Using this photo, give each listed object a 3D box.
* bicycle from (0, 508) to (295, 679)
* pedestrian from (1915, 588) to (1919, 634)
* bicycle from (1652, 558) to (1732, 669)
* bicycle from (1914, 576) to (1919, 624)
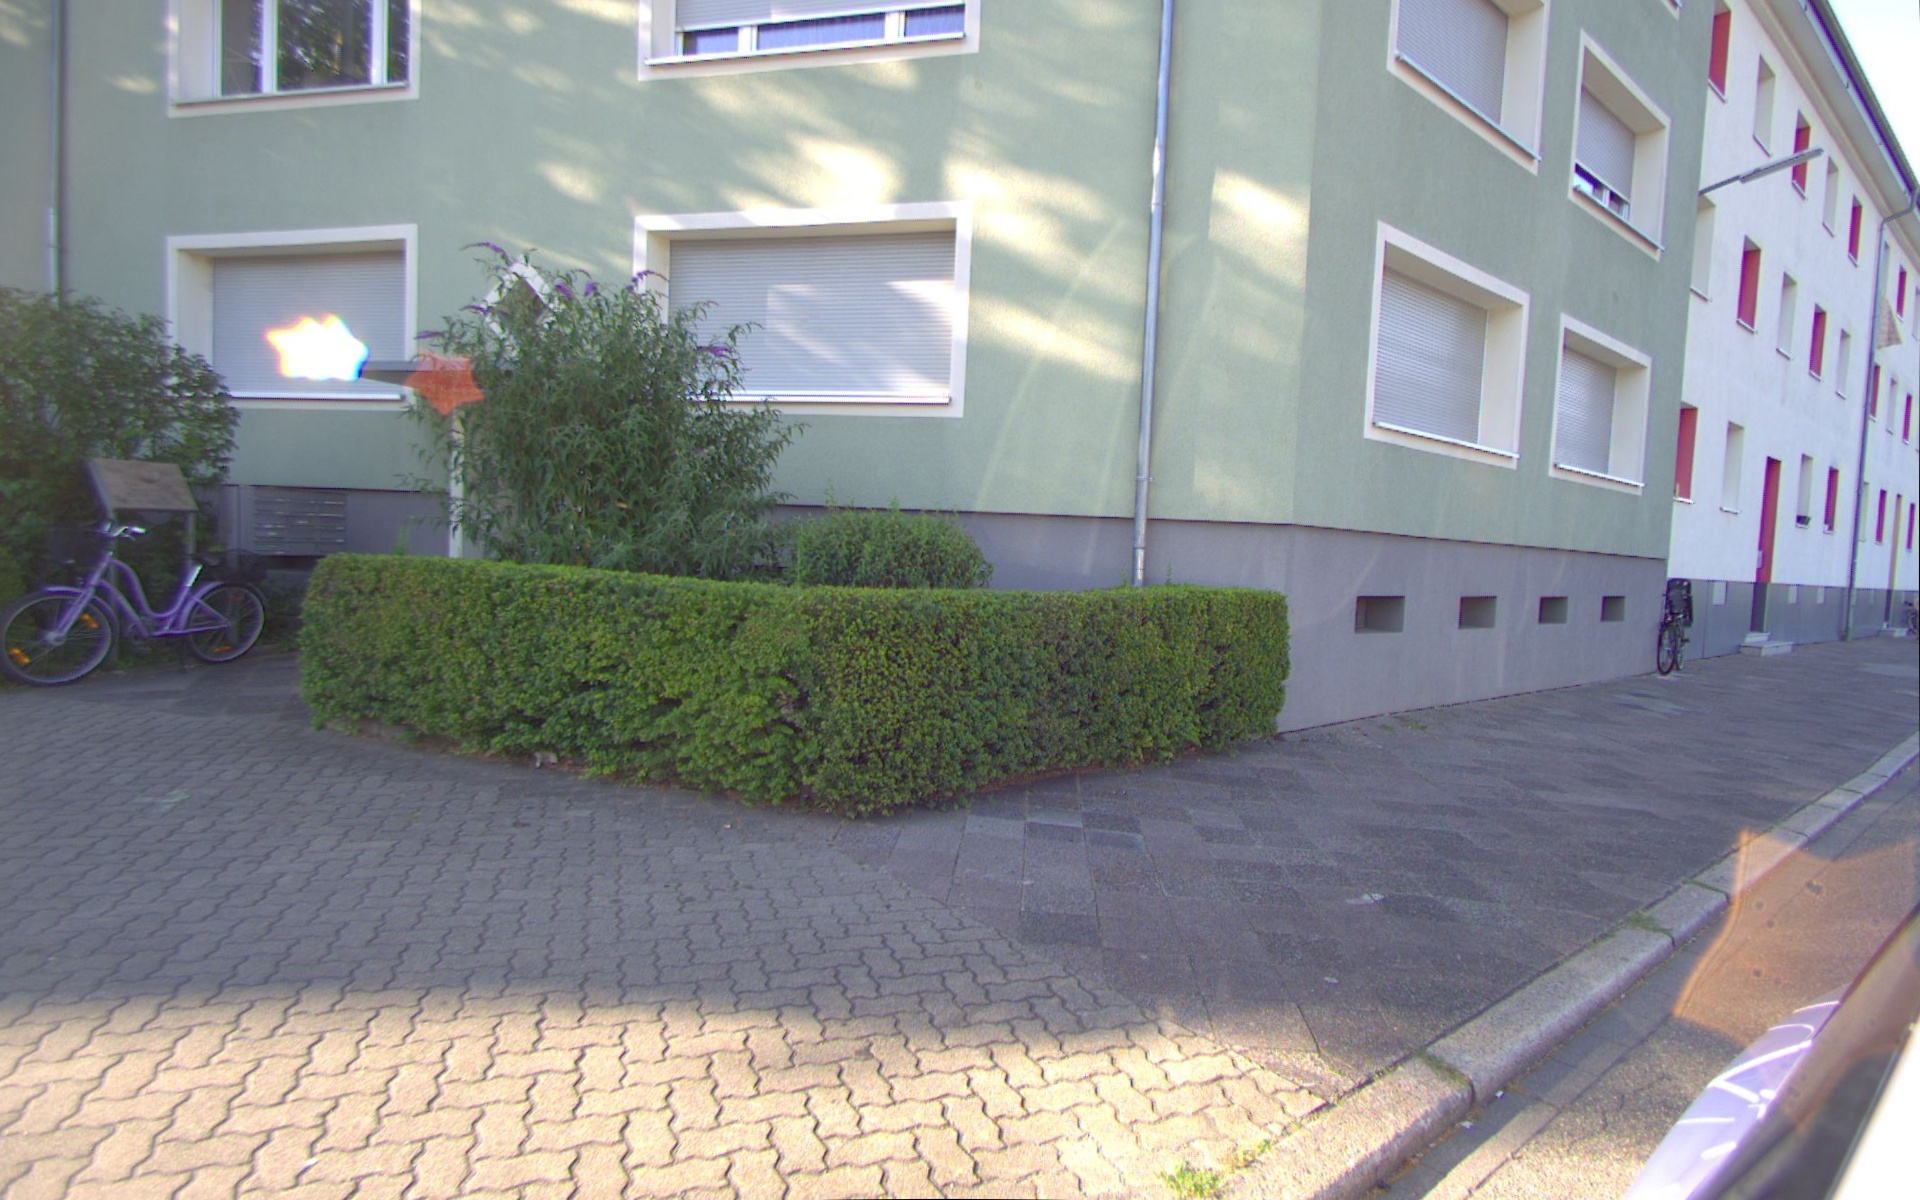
[{"bbox_3d":[-5.909,-0.088,7.287,0.515,1.069,1.920,3,3,22],"label":"bicycle"},{"bbox_3d":[25.330,0.045,26.106,0.933,1.727,0.787,0,4,-41],"label":"pedestrian"},{"bbox_3d":[10.134,0.157,13.987,1.843,1.429,0.517,-1,4,-44],"label":"bicycle"},{"bbox_3d":[29.434,0.006,30.734,1.843,1.429,0.517,-1,4,-44],"label":"bicycle"}]
